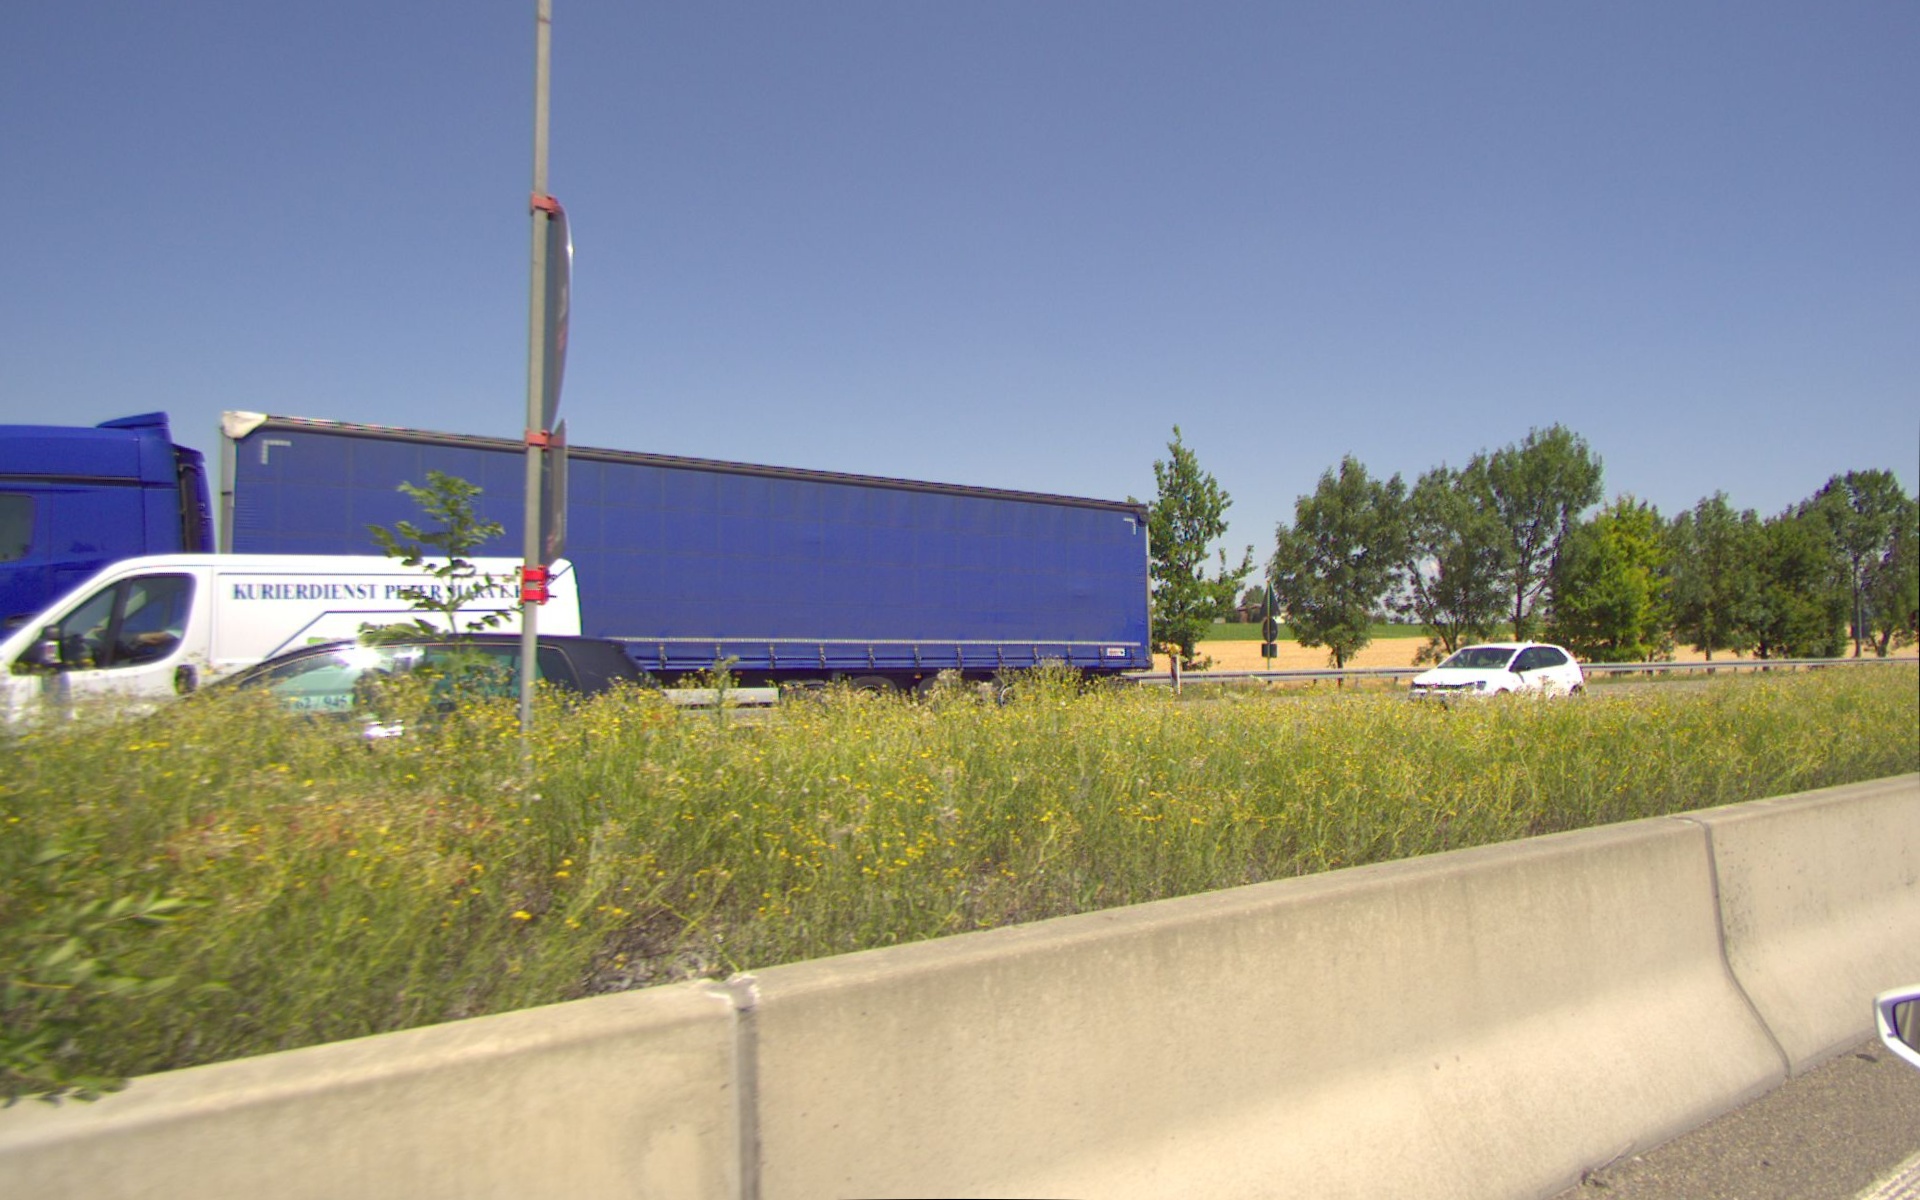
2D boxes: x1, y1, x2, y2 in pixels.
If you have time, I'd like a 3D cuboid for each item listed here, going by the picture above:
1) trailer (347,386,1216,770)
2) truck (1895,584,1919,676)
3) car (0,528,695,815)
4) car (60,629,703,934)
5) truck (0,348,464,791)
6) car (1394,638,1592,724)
[{"bbox_3d":[-1.861,-0.074,16.175,13.481,4.407,2.870,1,-2,-30],"label":"trailer"},{"bbox_3d":[42.753,1.280,43.051,3.953,3.905,2.843,1,-3,-30],"label":"truck"},{"bbox_3d":[-5.518,0.583,9.105,5.691,2.040,2.176,1,-2,-28],"label":"car"},{"bbox_3d":[-3.380,0.936,6.332,3.159,1.488,1.378,1,-2,-31],"label":"car"},{"bbox_3d":[-9.080,-0.238,11.924,5.520,4.407,2.852,1,-2,-30],"label":"truck"},{"bbox_3d":[10.134,1.463,19.038,3.820,1.483,1.609,1,-2,-31],"label":"car"}]
